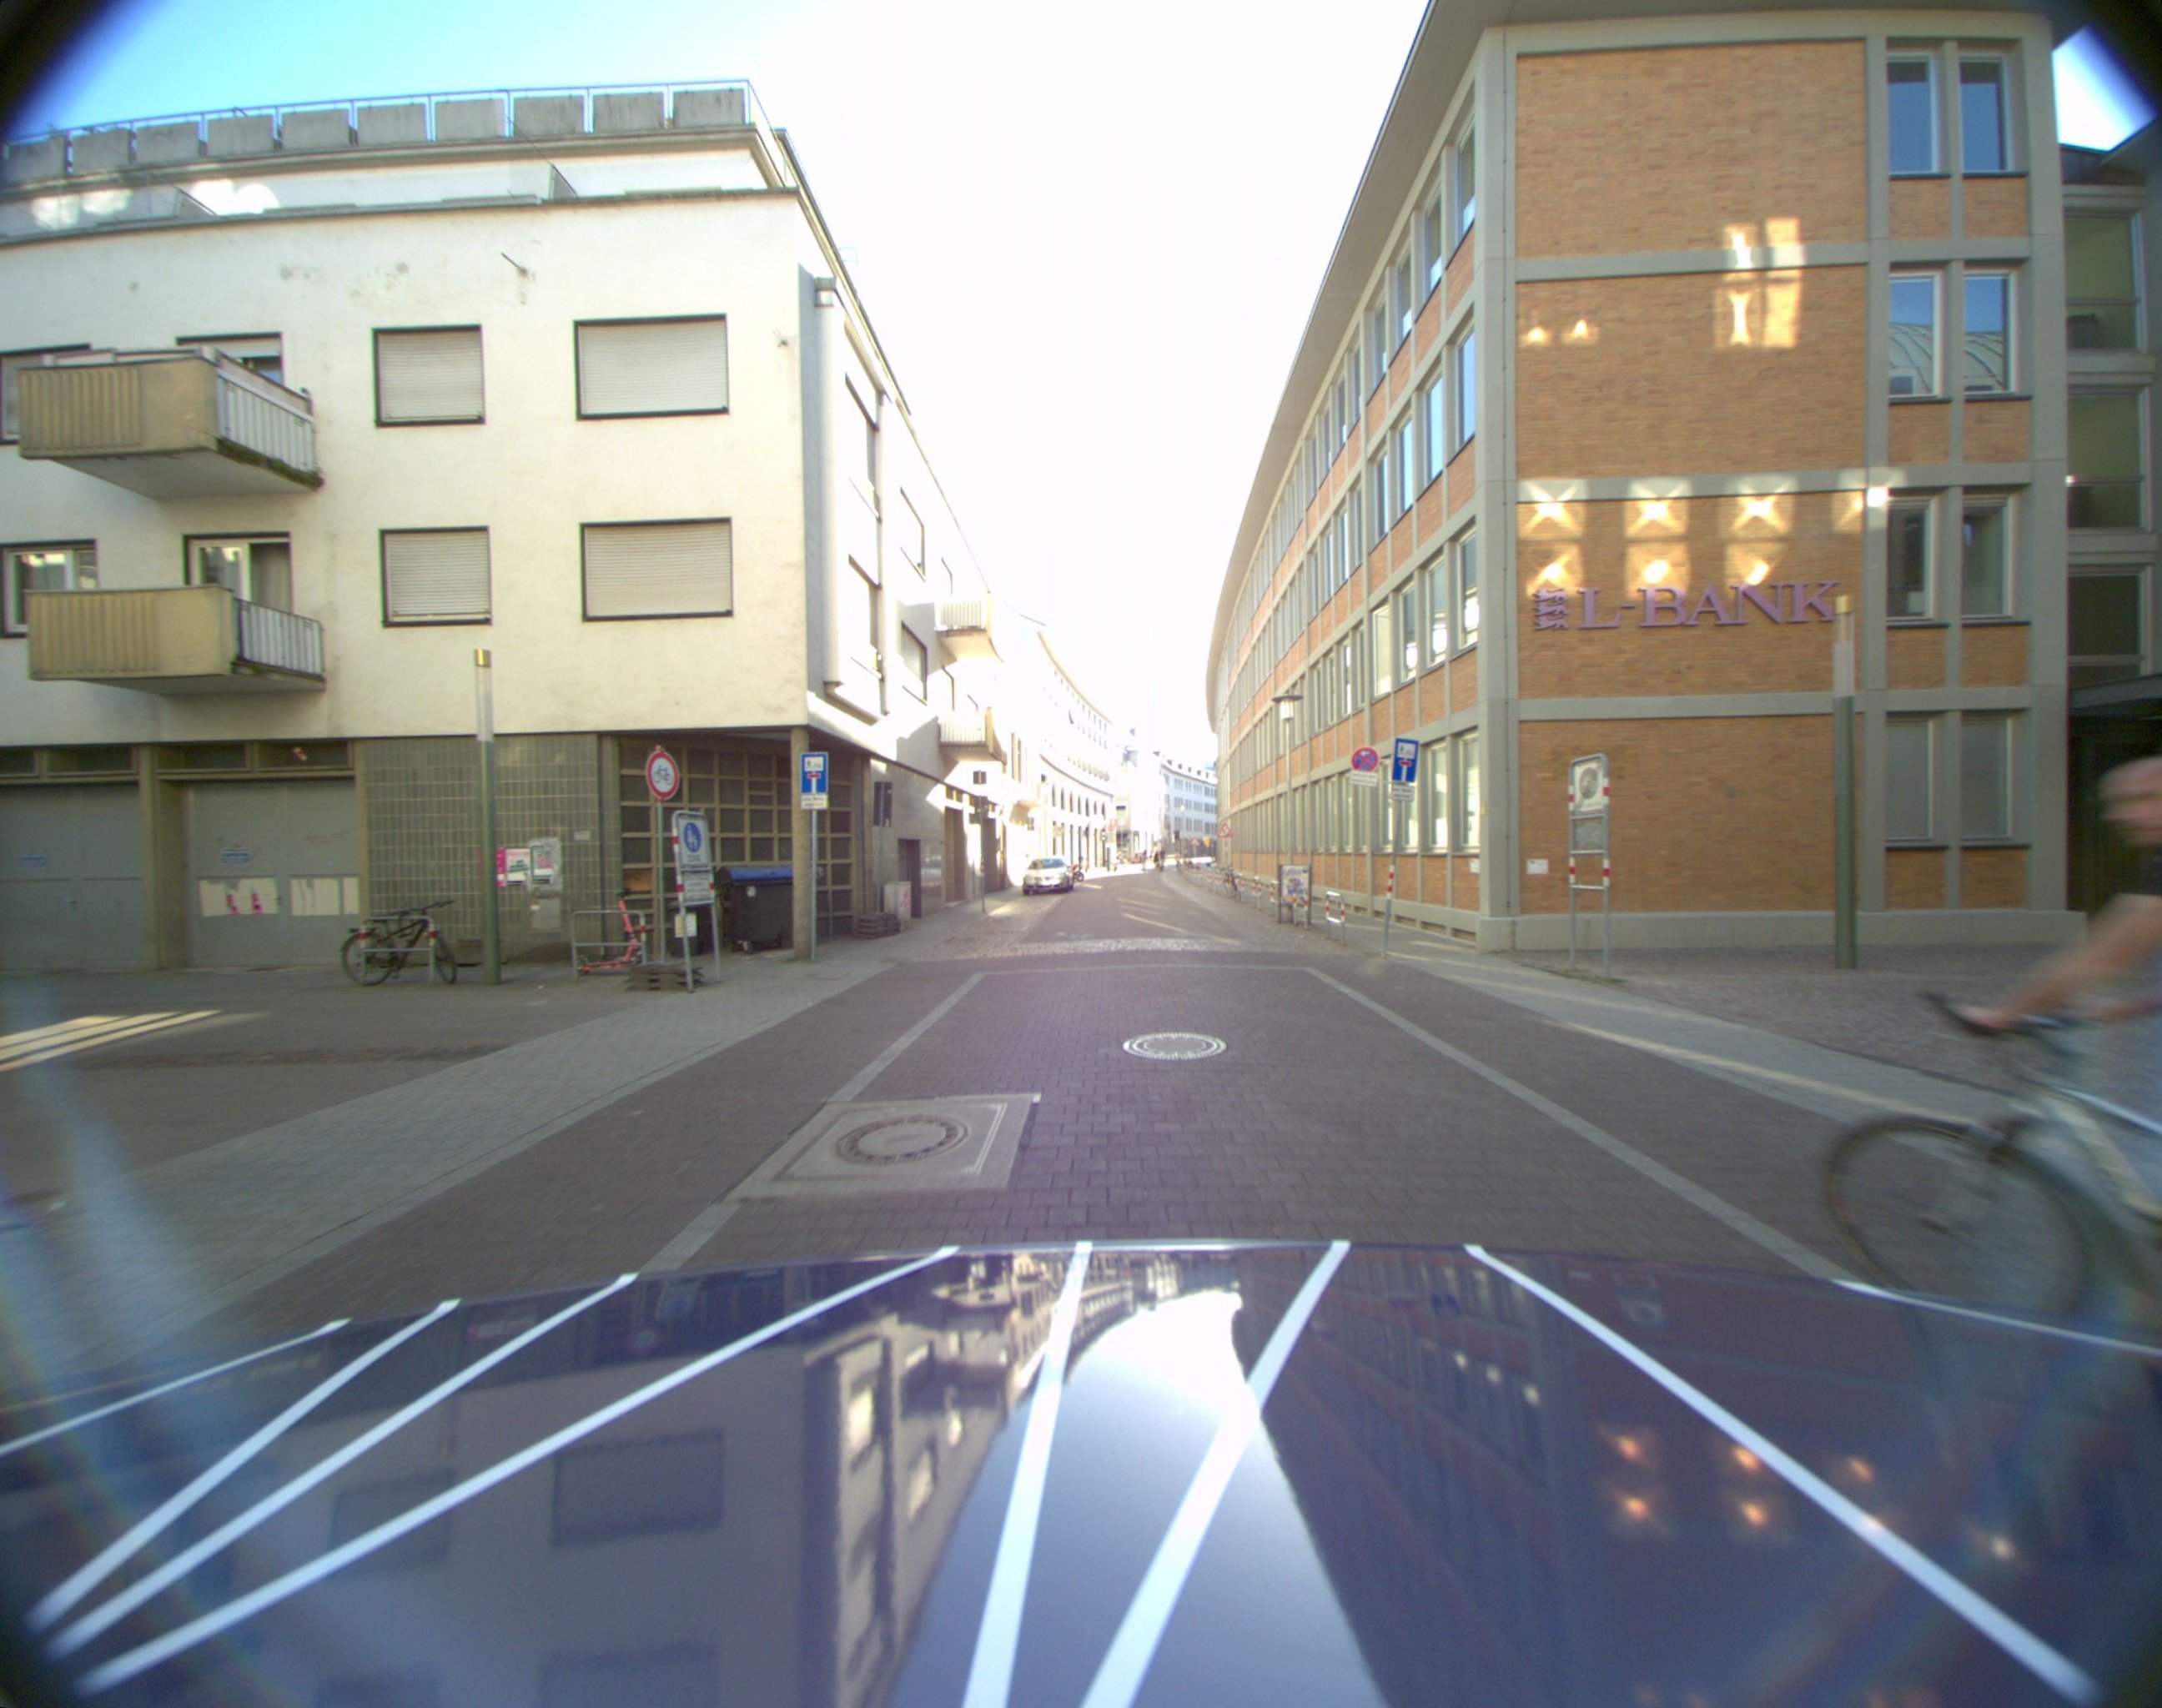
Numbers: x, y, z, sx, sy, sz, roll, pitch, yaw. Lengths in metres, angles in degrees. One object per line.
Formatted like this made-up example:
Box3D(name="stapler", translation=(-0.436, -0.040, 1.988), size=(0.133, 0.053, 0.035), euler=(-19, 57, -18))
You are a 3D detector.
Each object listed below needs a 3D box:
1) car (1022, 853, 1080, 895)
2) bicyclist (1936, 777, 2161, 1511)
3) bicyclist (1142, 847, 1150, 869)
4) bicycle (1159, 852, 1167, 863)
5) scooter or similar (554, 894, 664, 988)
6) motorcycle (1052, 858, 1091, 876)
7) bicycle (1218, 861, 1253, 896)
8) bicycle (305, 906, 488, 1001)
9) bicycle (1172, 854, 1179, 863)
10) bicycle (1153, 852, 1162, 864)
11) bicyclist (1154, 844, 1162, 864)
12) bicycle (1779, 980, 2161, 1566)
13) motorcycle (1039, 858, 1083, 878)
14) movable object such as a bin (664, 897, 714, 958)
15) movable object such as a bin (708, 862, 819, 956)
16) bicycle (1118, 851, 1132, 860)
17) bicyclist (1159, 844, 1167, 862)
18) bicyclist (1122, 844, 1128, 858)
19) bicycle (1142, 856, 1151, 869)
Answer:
Box3D(name="car", translation=(-1.130, 0.735, 30.285), size=(1.846, 1.453, 3.999), euler=(-3, 1, 3))
Box3D(name="bicyclist", translation=(2.761, 0.656, 1.643), size=(0.664, 1.633, 0.925), euler=(2, 2, 2))
Box3D(name="bicyclist", translation=(4.600, 0.295, 53.741), size=(0.472, 1.495, 0.795), euler=(-1, 1, 6))
Box3D(name="bicycle", translation=(7.329, 0.287, 67.666), size=(0.576, 0.955, 1.721), euler=(-1, 1, 9))
Box3D(name="scooter or similar", translation=(-6.548, 1.201, 10.568), size=(1.162, 1.216, 0.498), euler=(-1, 1, 0))
Box3D(name="motorcycle", translation=(-0.516, 0.718, 41.393), size=(1.995, 0.950, 0.646), euler=(-1, 1, 16))
Box3D(name="bicycle", translation=(5.029, 0.781, 24.825), size=(0.628, 1.048, 1.822), euler=(-2, 1, -4))
Box3D(name="bicycle", translation=(-9.114, 1.314, 10.146), size=(1.891, 1.120, 0.682), euler=(-2, 1, 6))
Box3D(name="bicycle", translation=(9.796, 0.458, 78.885), size=(0.622, 0.955, 1.721), euler=(-1, 1, 9))
Box3D(name="bicycle", translation=(6.342, 0.341, 62.795), size=(0.576, 0.955, 1.721), euler=(-1, 1, 9))
Box3D(name="bicyclist", translation=(6.362, -0.002, 63.004), size=(0.580, 1.565, 0.692), euler=(-2, 1, 8))
Box3D(name="bicycle", translation=(2.747, 1.028, 1.749), size=(0.652, 1.125, 1.735), euler=(2, 2, 2))
Box3D(name="motorcycle", translation=(-0.986, 0.700, 37.503), size=(1.995, 0.950, 0.646), euler=(-1, 1, 16))
Box3D(name="movable object such as a bin", translation=(-6.427, 1.190, 12.457), size=(0.598, 0.921, 0.605), euler=(-2, 1, -39))
Box3D(name="movable object such as a bin", translation=(-5.395, 0.883, 12.925), size=(1.437, 1.454, 1.126), euler=(-2, 1, -39))
Box3D(name="bicycle", translation=(5.226, 0.164, 89.898), size=(1.618, 1.033, 0.533), euler=(-2, 1, 1))
Box3D(name="bicyclist", translation=(7.311, -0.107, 67.680), size=(0.576, 1.525, 0.816), euler=(-1, 1, 9))
Box3D(name="bicyclist", translation=(5.200, -0.369, 89.863), size=(0.717, 1.549, 0.489), euler=(-2, 1, 4))
Box3D(name="bicycle", translation=(4.616, 0.578, 53.707), size=(0.524, 0.843, 1.491), euler=(-1, 1, 8))
